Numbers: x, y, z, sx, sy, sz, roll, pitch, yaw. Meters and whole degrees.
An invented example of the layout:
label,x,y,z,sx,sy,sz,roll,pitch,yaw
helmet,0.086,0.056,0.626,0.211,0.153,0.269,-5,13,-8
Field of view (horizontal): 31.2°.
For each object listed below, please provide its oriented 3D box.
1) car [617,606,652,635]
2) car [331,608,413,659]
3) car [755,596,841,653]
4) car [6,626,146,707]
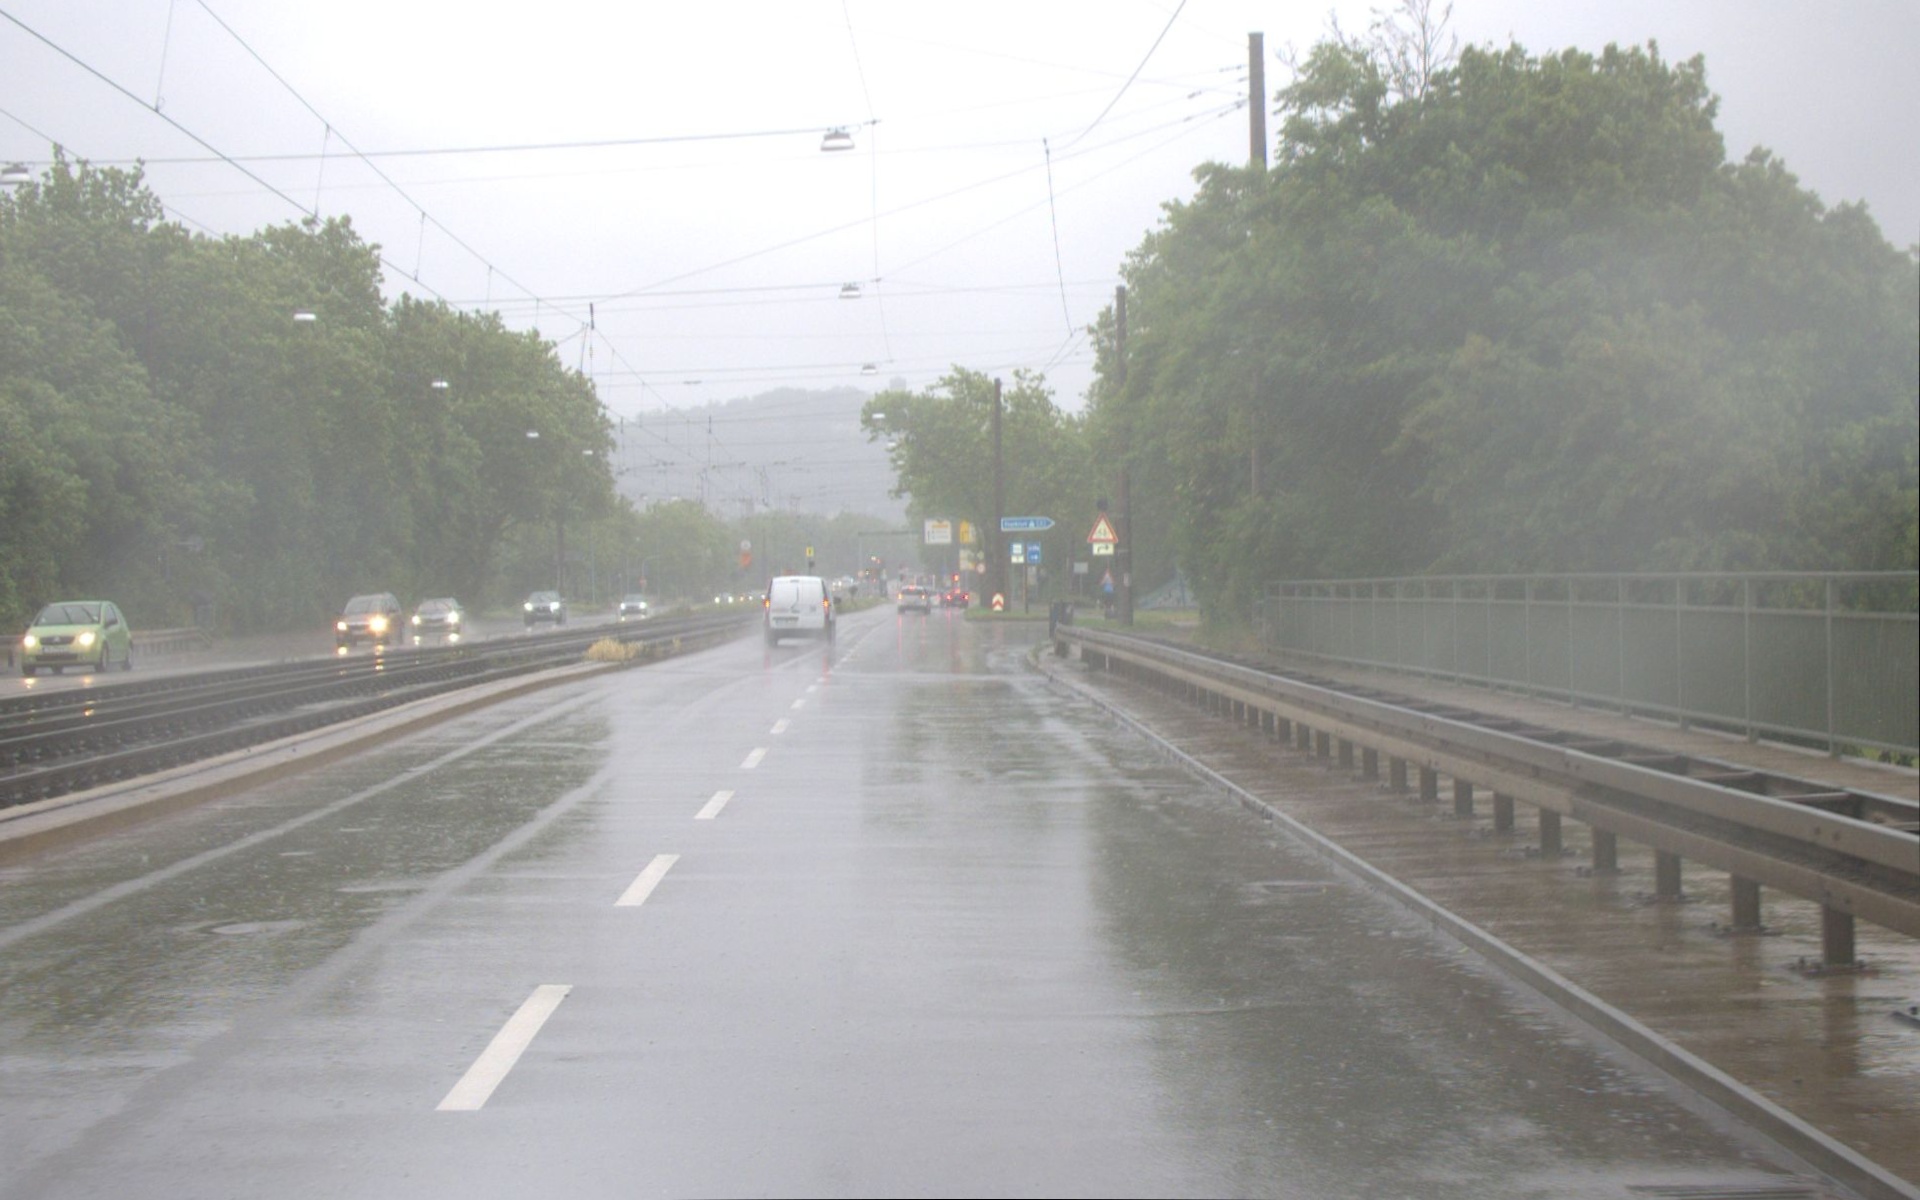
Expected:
label,x,y,z,sx,sy,sz,roll,pitch,yaw
car,-22.096,1.386,233.479,1.993,1.776,4.000,4,1,-1
car,-18.265,1.048,106.911,1.841,1.569,4.385,0,-1,-1
car,-4.219,0.654,90.002,2.077,1.415,4.000,-1,-1,-1
car,-17.875,1.334,69.688,1.846,1.589,4.000,0,-1,-1
